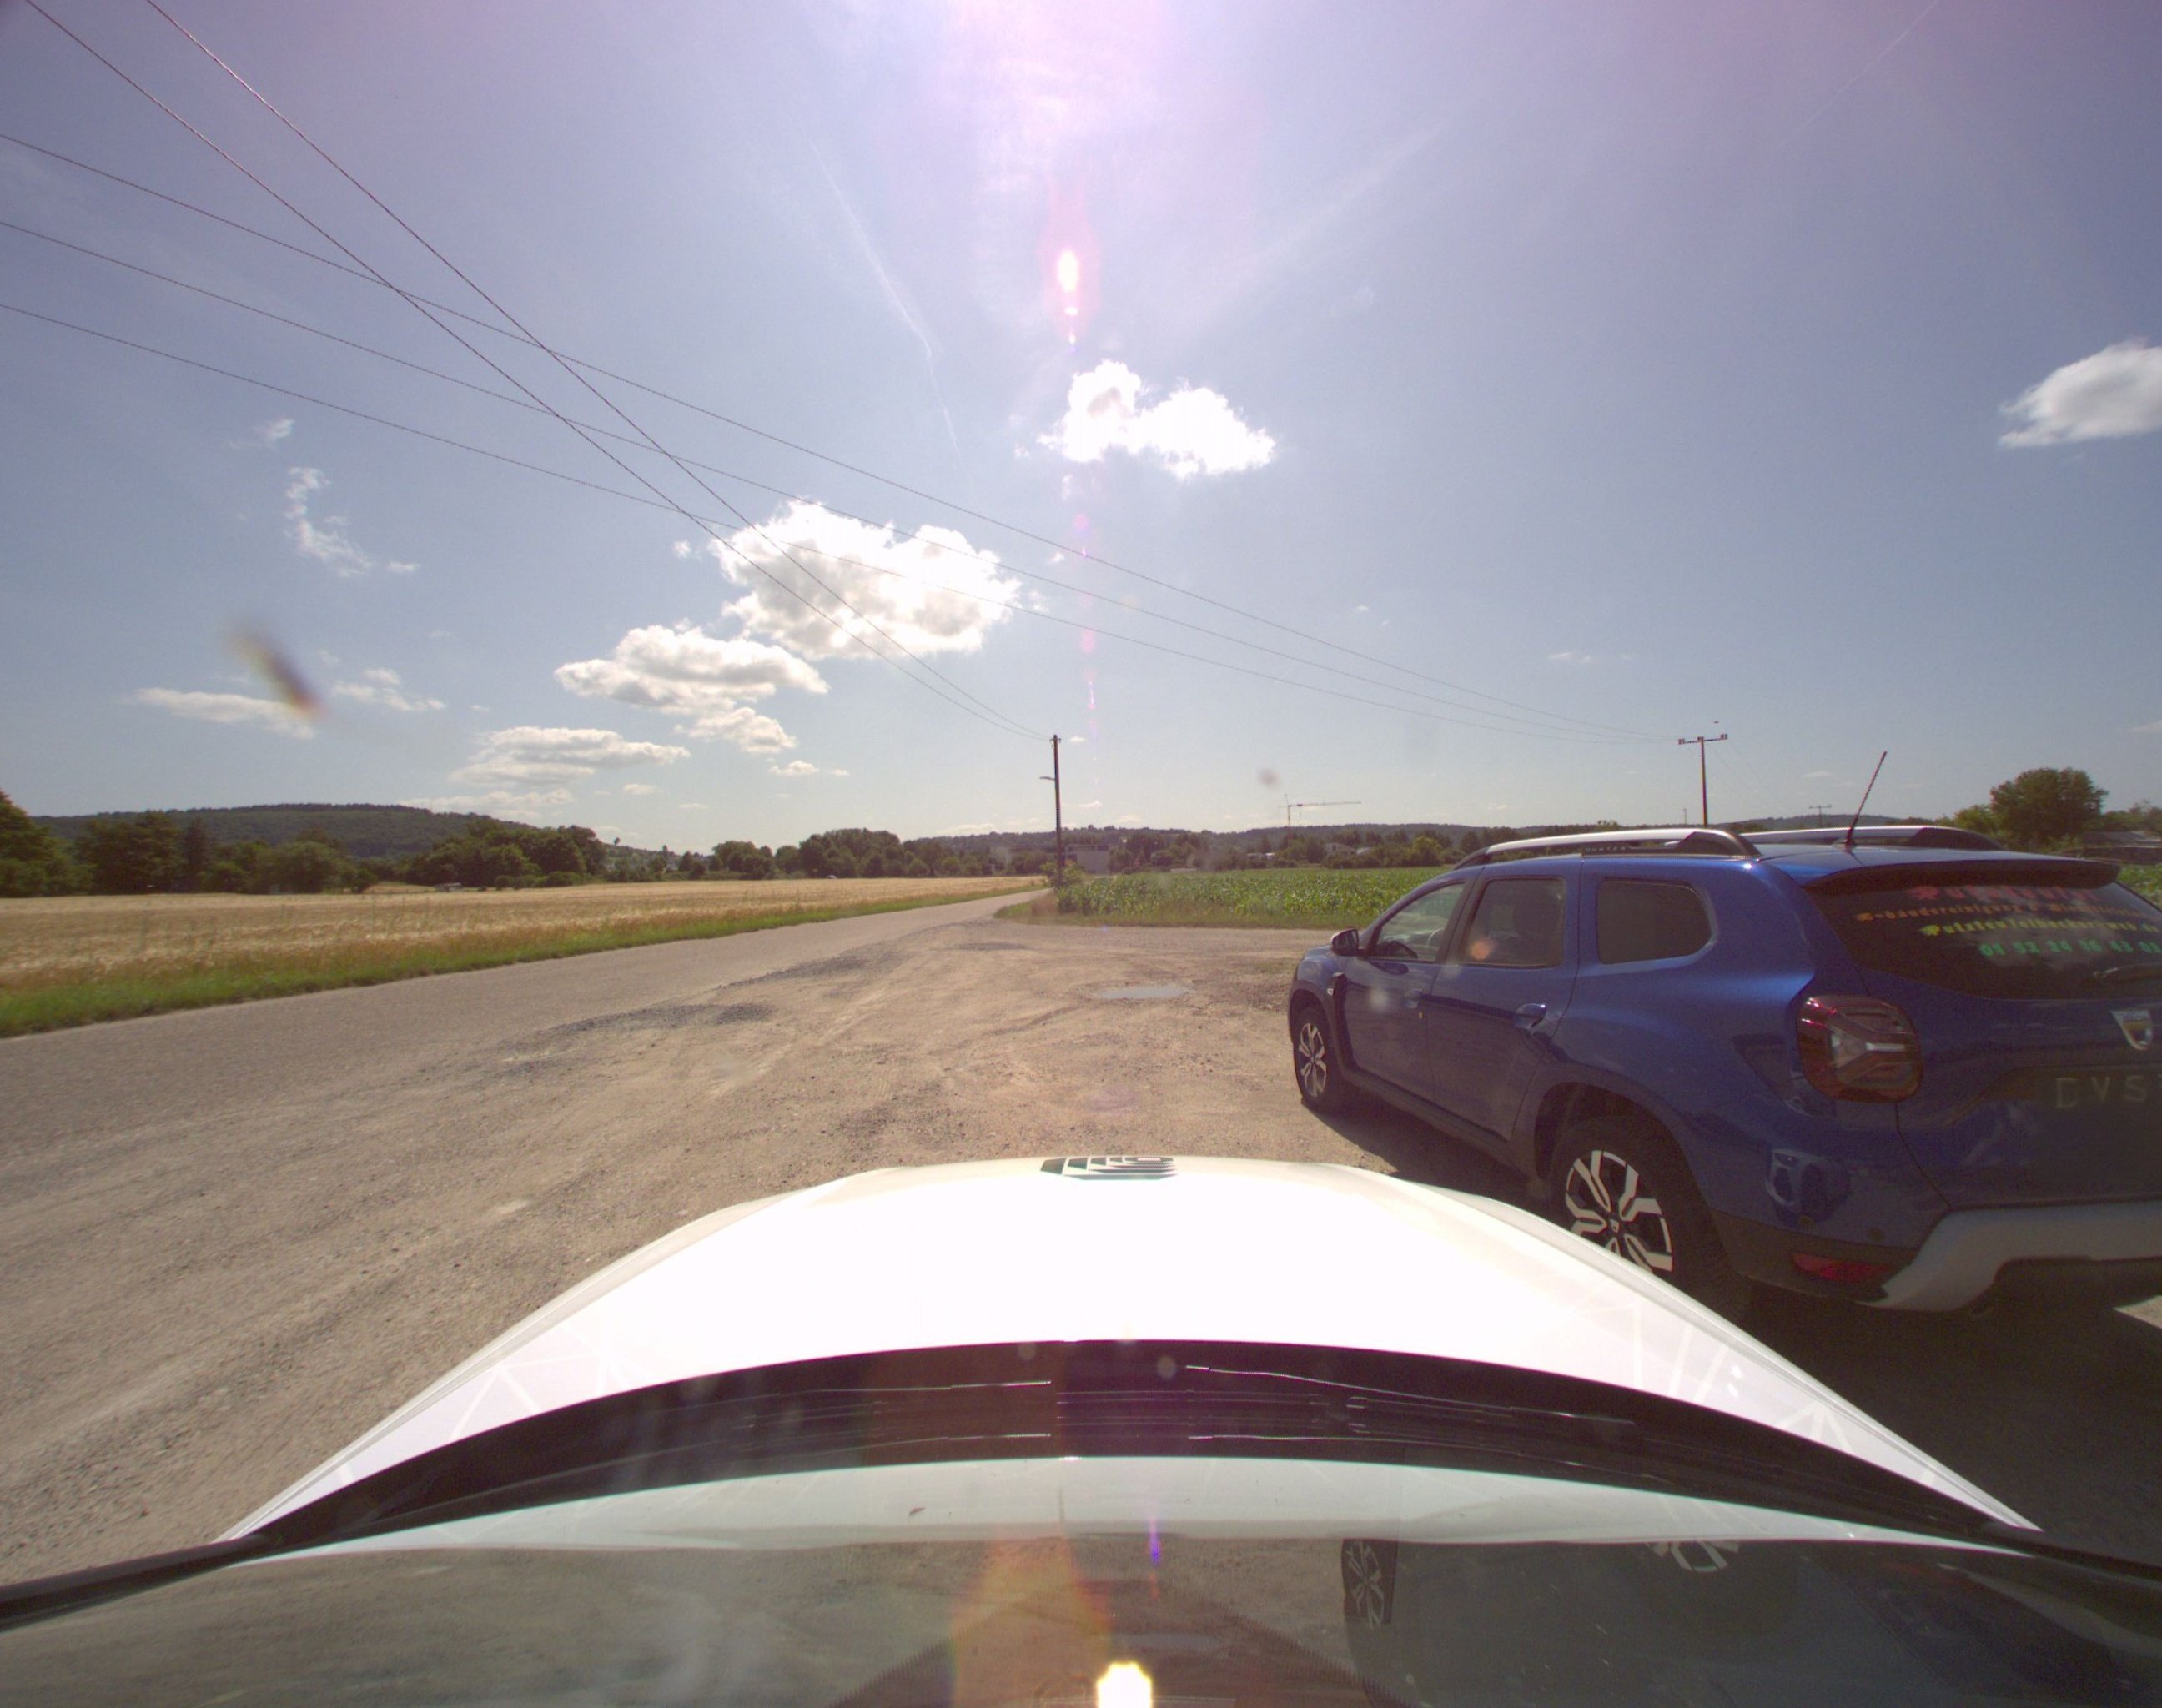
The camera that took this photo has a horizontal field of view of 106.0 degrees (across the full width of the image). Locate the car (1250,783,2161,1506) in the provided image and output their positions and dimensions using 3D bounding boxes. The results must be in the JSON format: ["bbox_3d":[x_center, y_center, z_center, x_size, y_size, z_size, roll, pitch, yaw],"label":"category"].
[{"bbox_3d":[2.477,0.734,4.219,1.856,1.661,4.448,0,-2,-6],"label":"car"}]
